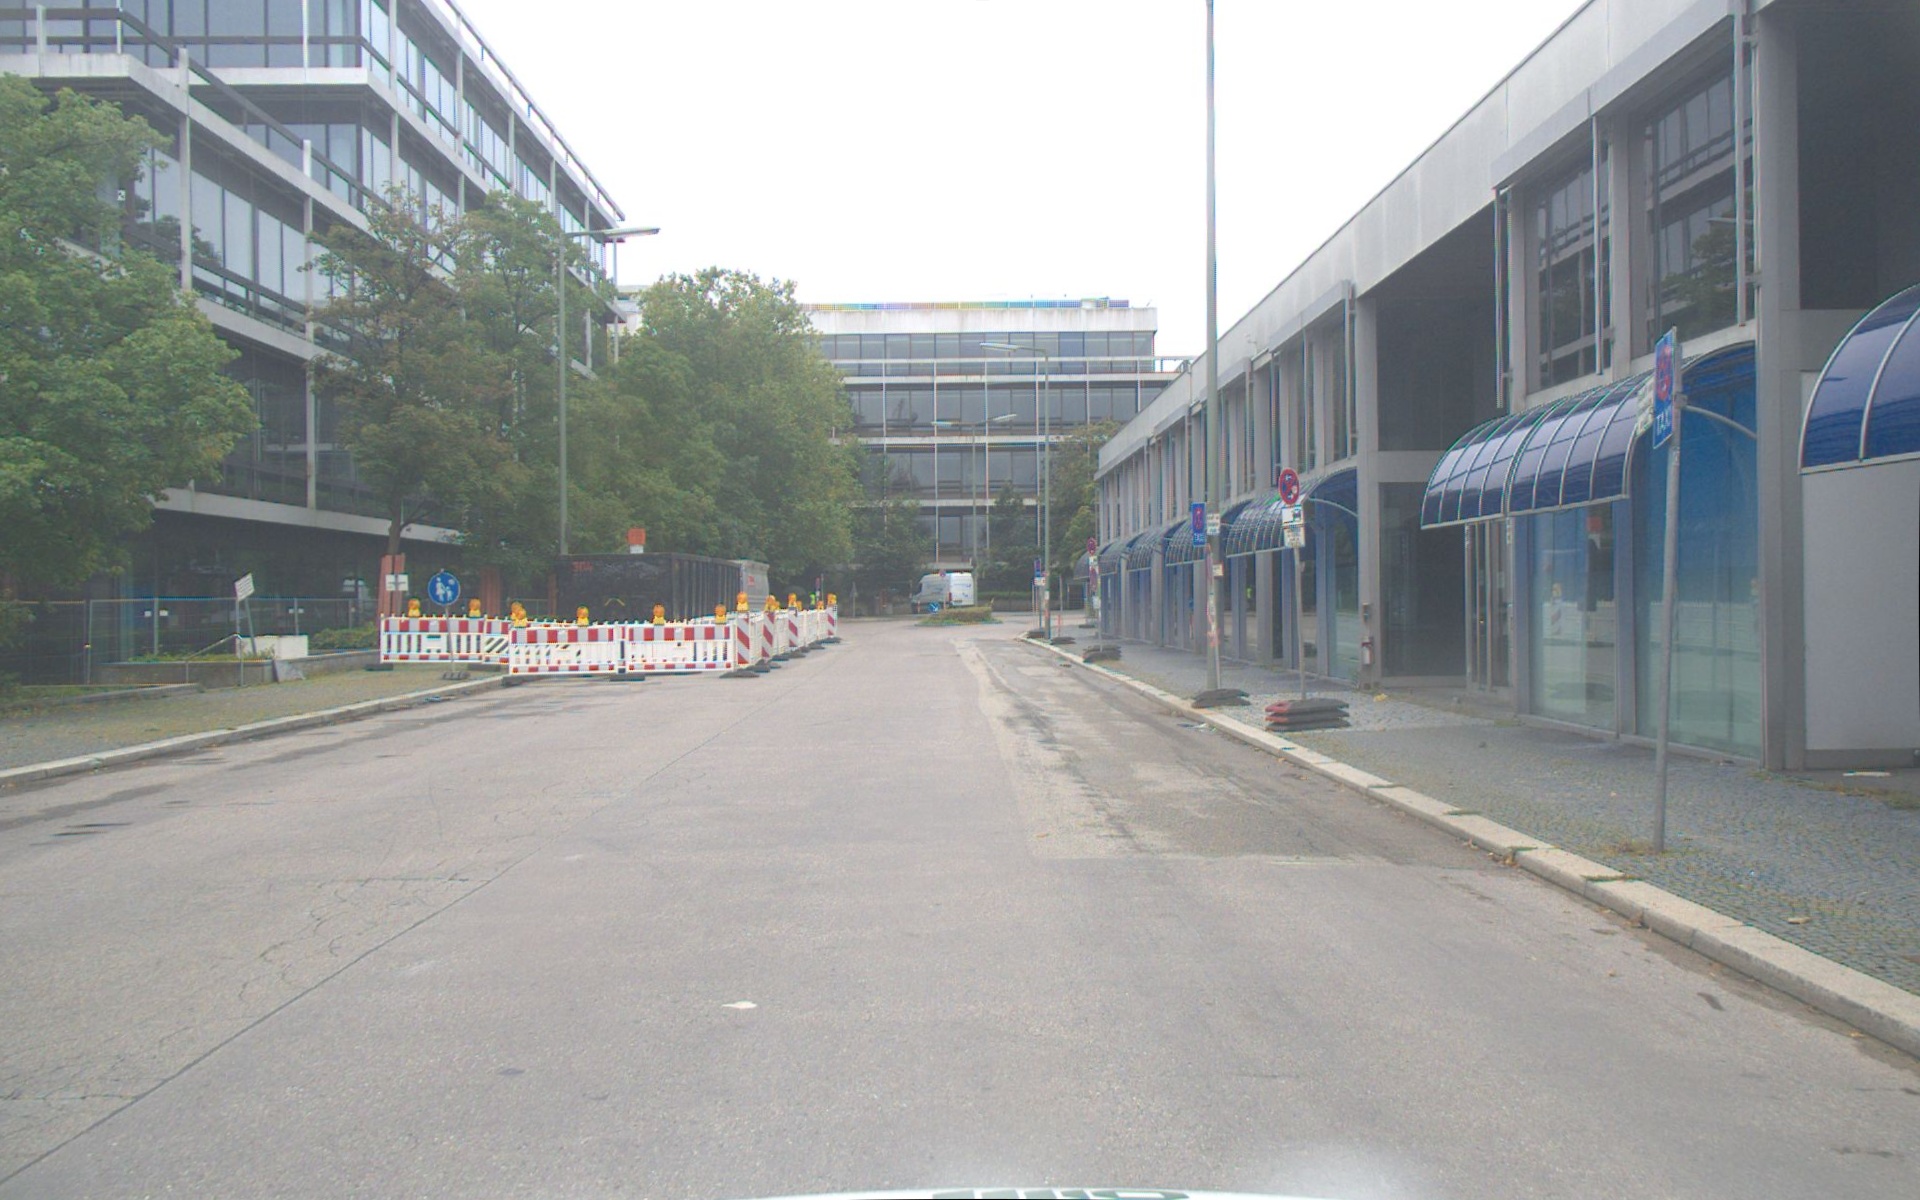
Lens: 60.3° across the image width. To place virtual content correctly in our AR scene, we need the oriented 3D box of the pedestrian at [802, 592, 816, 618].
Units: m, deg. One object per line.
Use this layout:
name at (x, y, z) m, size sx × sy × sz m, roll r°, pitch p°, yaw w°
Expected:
pedestrian at (-9.944, 0.303, 108.944) m, size 0.730 × 1.706 × 0.678 m, roll -1°, pitch 0°, yaw -20°

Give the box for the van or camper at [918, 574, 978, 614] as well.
van or camper at (-0.838, -0.398, 110.541) m, size 2.060 × 2.535 × 5.024 m, roll -1°, pitch 0°, yaw -26°
